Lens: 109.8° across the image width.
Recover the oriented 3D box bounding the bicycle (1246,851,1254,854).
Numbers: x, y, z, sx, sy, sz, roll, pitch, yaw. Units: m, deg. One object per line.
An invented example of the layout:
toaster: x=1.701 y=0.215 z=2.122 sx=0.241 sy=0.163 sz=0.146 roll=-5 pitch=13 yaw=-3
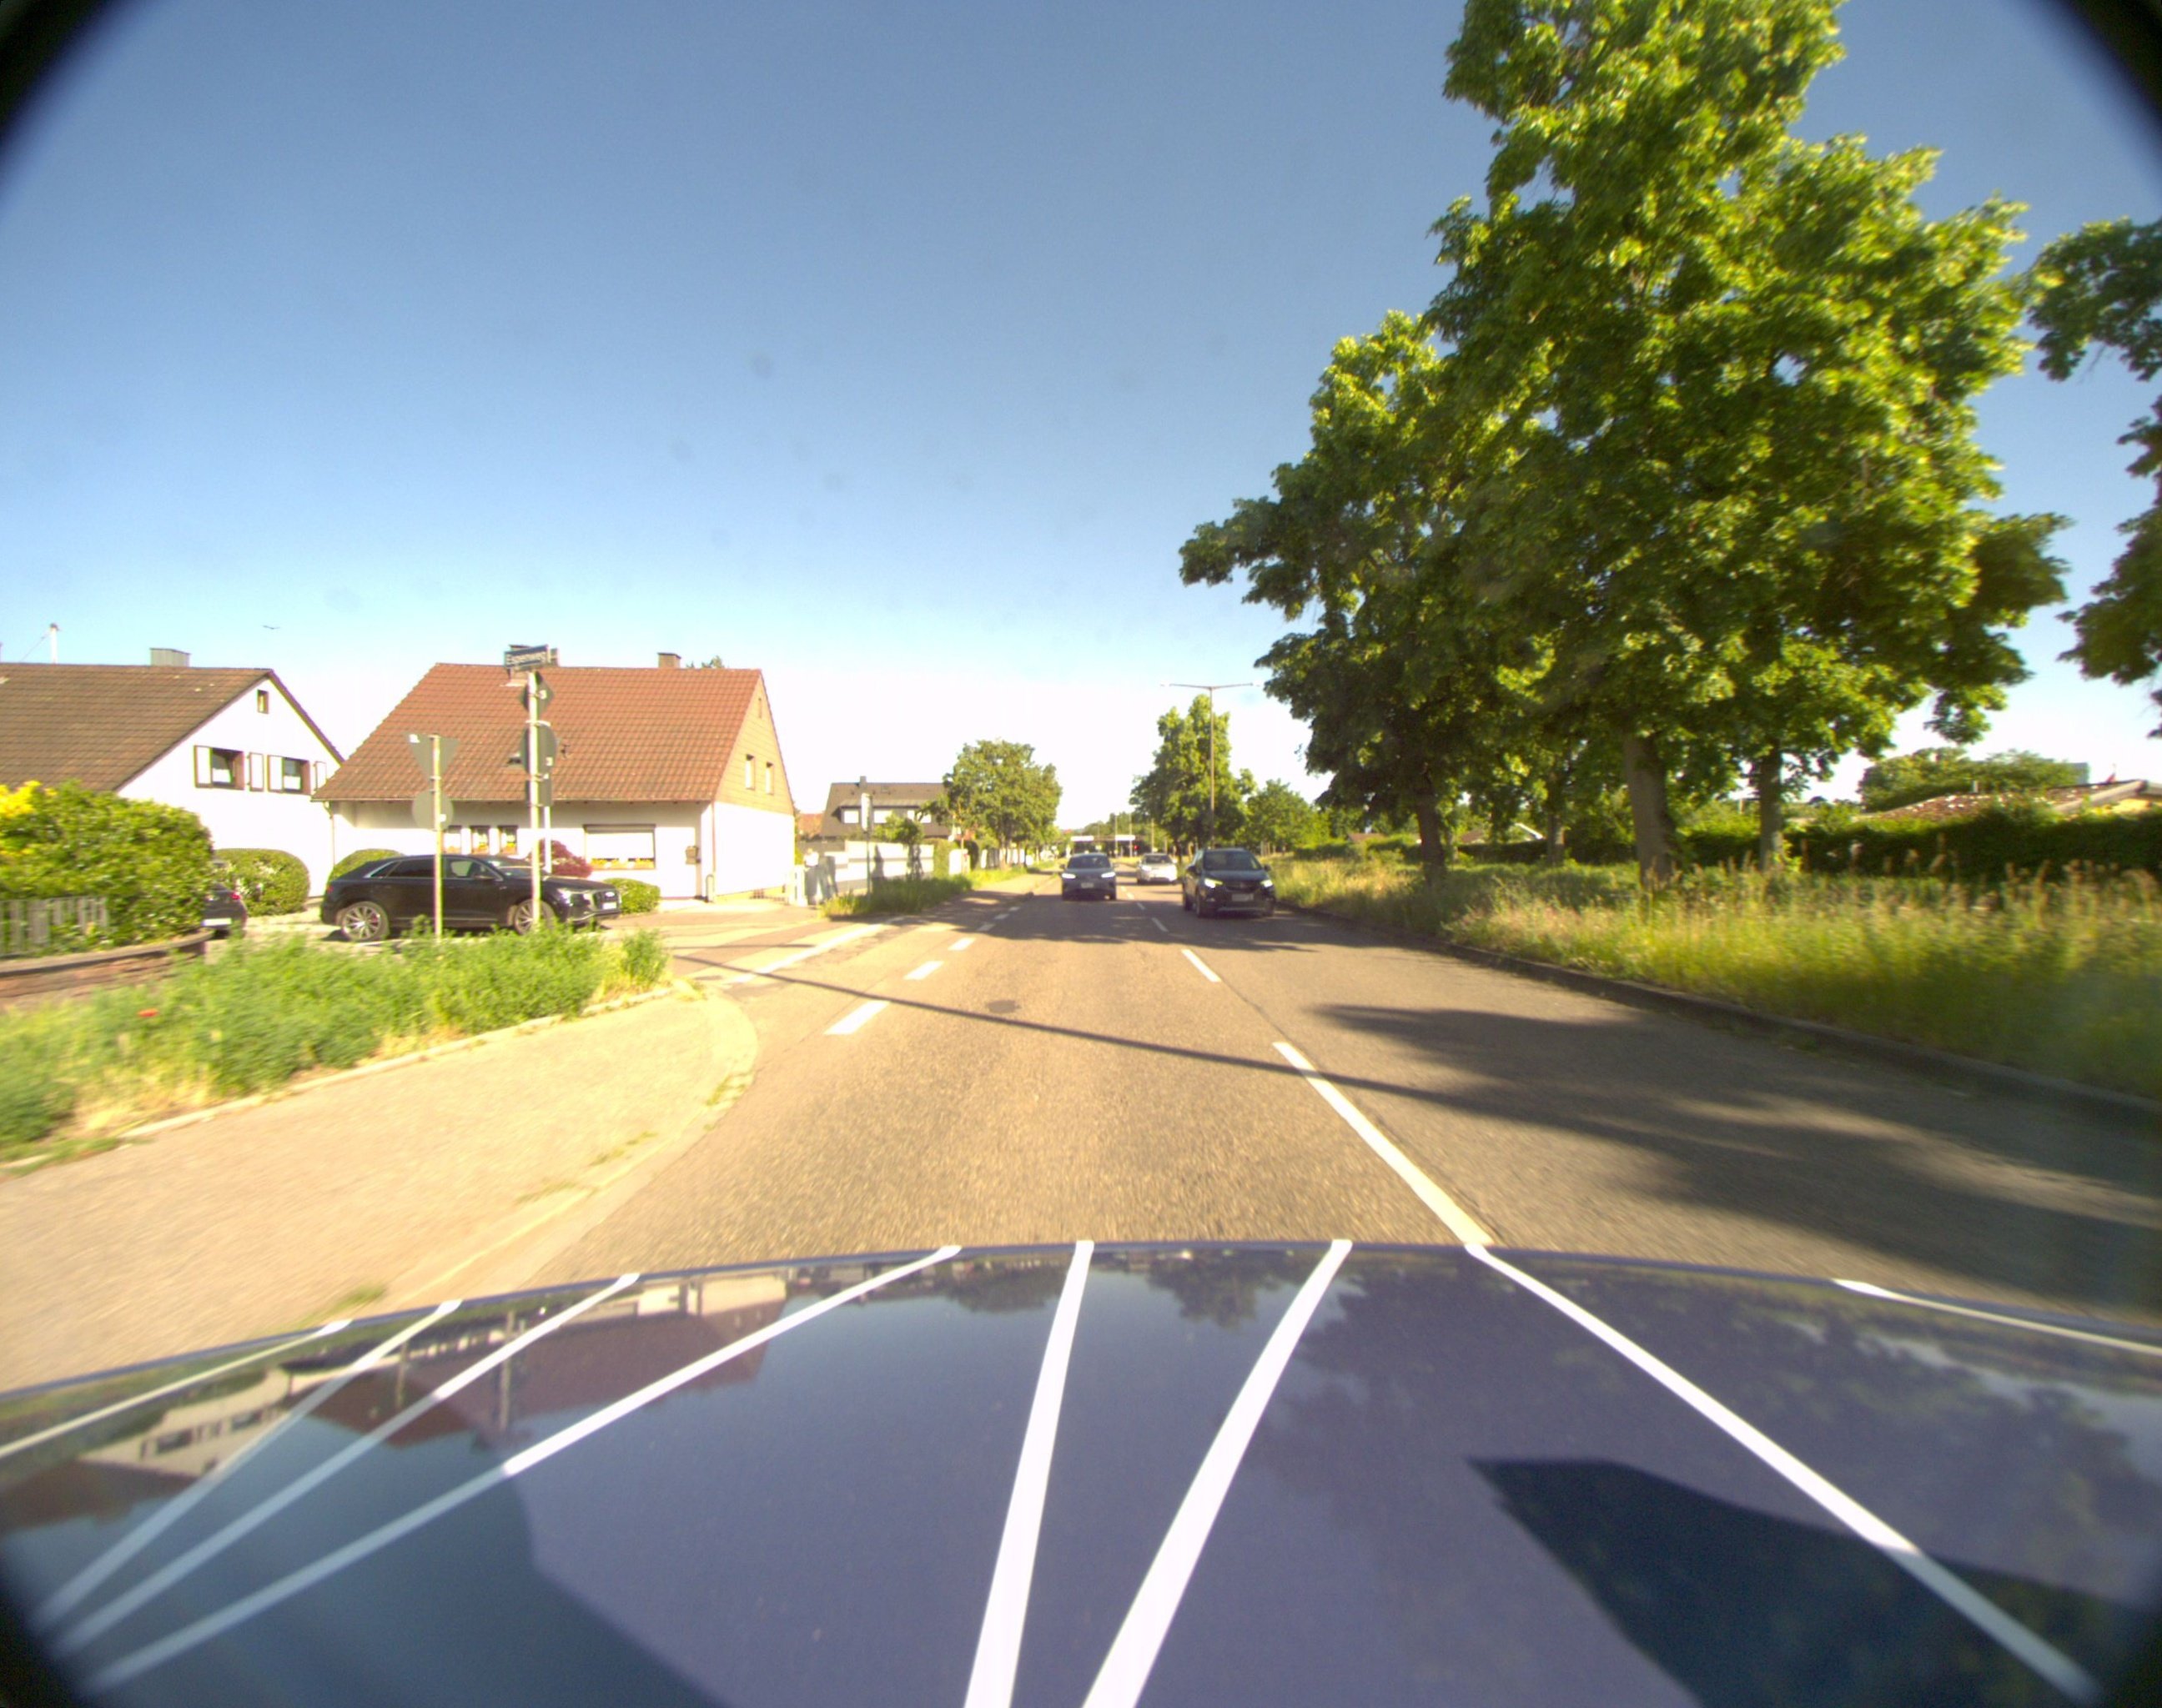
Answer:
bicycle: x=32.696 y=-0.287 z=147.120 sx=1.878 sy=0.691 sz=0.565 roll=-2 pitch=1 yaw=-42

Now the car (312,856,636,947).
car: x=-12.064 y=0.899 z=15.445 sx=4.756 sy=1.647 sz=2.070 roll=-1 pitch=0 yaw=-6

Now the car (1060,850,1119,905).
car: x=0.316 y=0.708 z=25.725 sx=1.801 sy=1.665 sz=4.239 roll=-1 pitch=0 yaw=2

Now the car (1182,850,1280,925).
car: x=3.569 y=0.731 z=18.728 sx=1.714 sy=1.653 sz=3.856 roll=0 pitch=0 yaw=1

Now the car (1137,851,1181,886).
car: x=3.855 y=0.674 z=38.142 sx=1.830 sy=1.604 sz=4.092 roll=-1 pitch=0 yaw=1

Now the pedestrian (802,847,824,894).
pedestrian: x=-9.970 y=0.614 z=28.292 sx=0.630 sy=1.698 sz=0.613 roll=-2 pitch=1 yaw=-13
